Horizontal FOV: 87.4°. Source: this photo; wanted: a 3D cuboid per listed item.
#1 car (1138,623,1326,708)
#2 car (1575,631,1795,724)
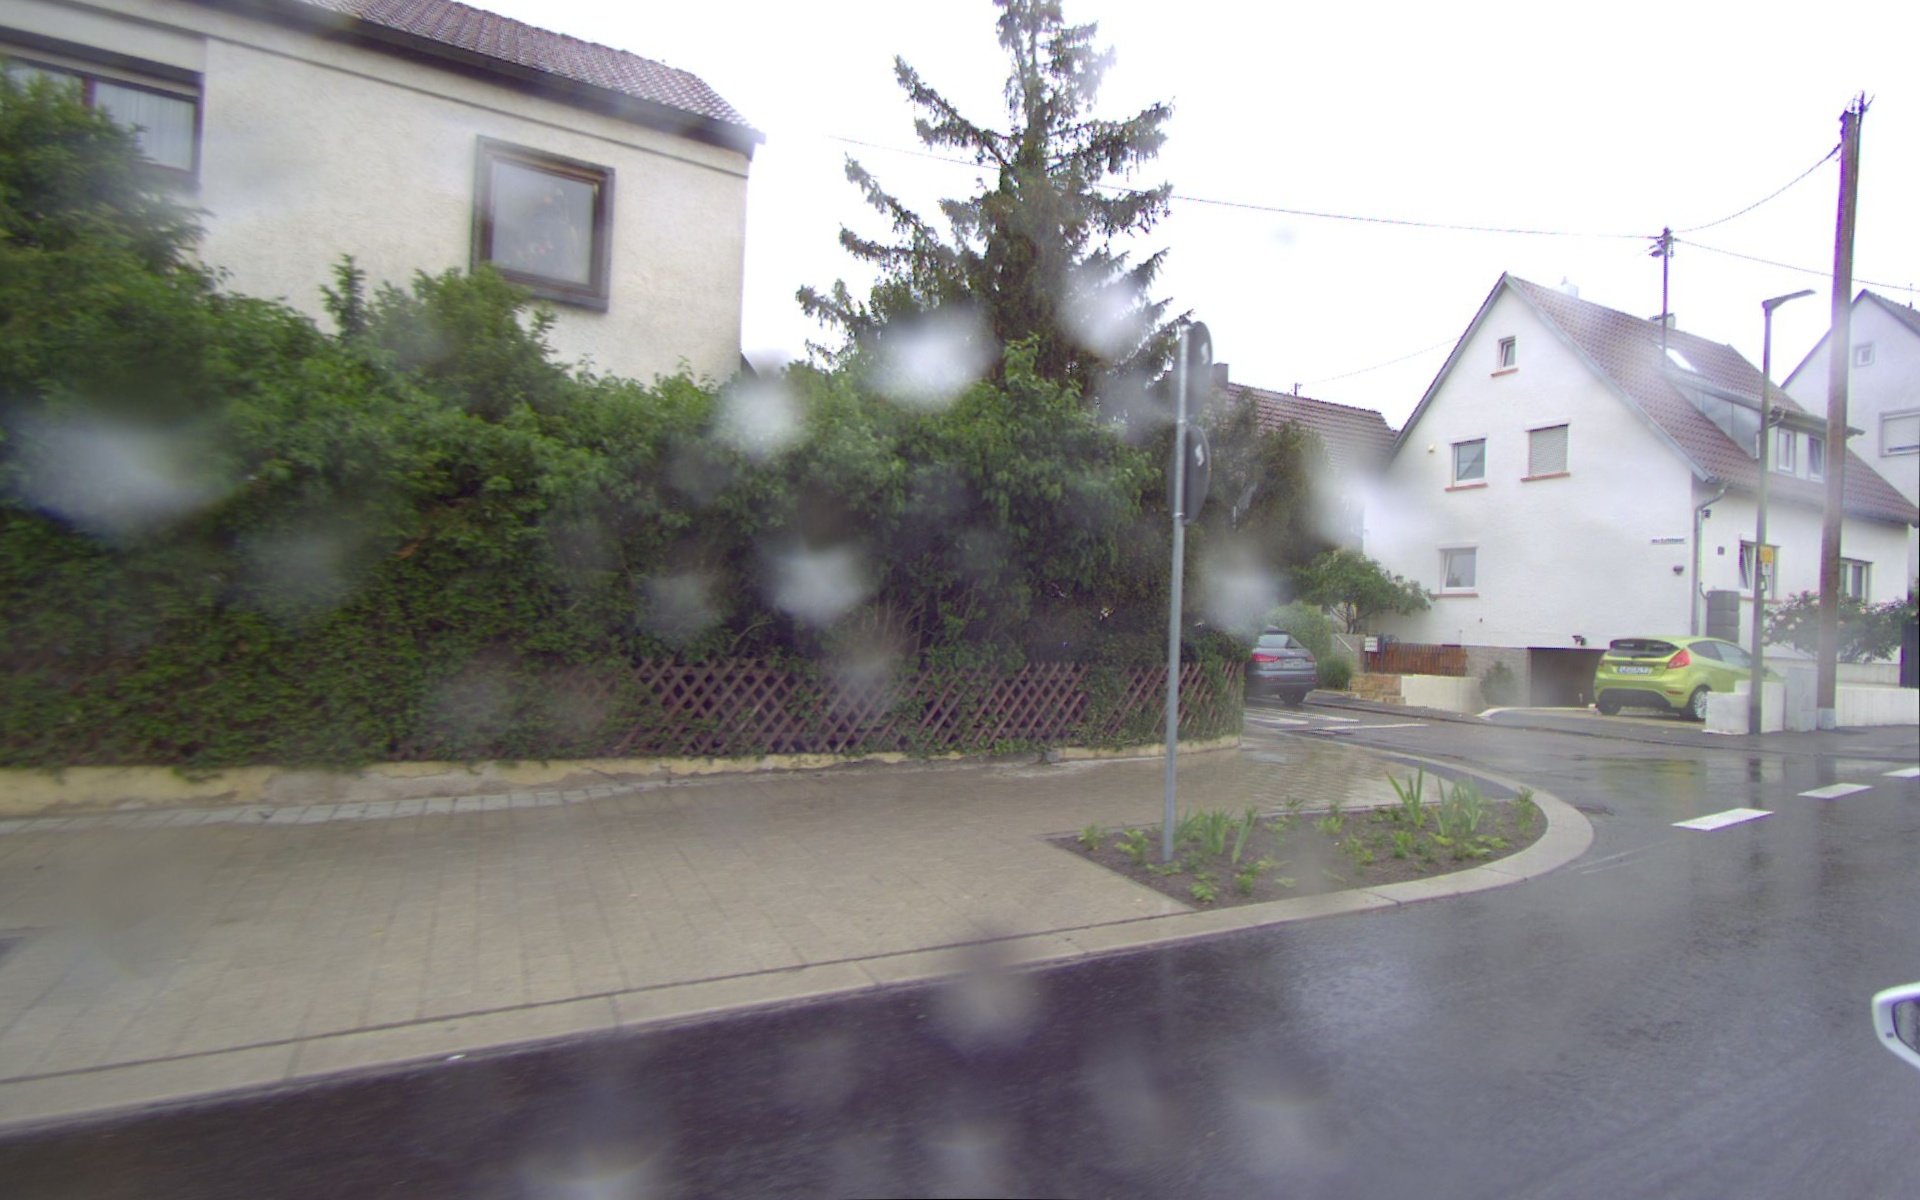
[{"bbox_3d":[5.528,1.285,20.887,1.760,1.486,3.833,1,0,-24],"label":"car"},{"bbox_3d":[13.012,1.385,18.044,3.411,1.486,1.773,3,-2,-25],"label":"car"}]
